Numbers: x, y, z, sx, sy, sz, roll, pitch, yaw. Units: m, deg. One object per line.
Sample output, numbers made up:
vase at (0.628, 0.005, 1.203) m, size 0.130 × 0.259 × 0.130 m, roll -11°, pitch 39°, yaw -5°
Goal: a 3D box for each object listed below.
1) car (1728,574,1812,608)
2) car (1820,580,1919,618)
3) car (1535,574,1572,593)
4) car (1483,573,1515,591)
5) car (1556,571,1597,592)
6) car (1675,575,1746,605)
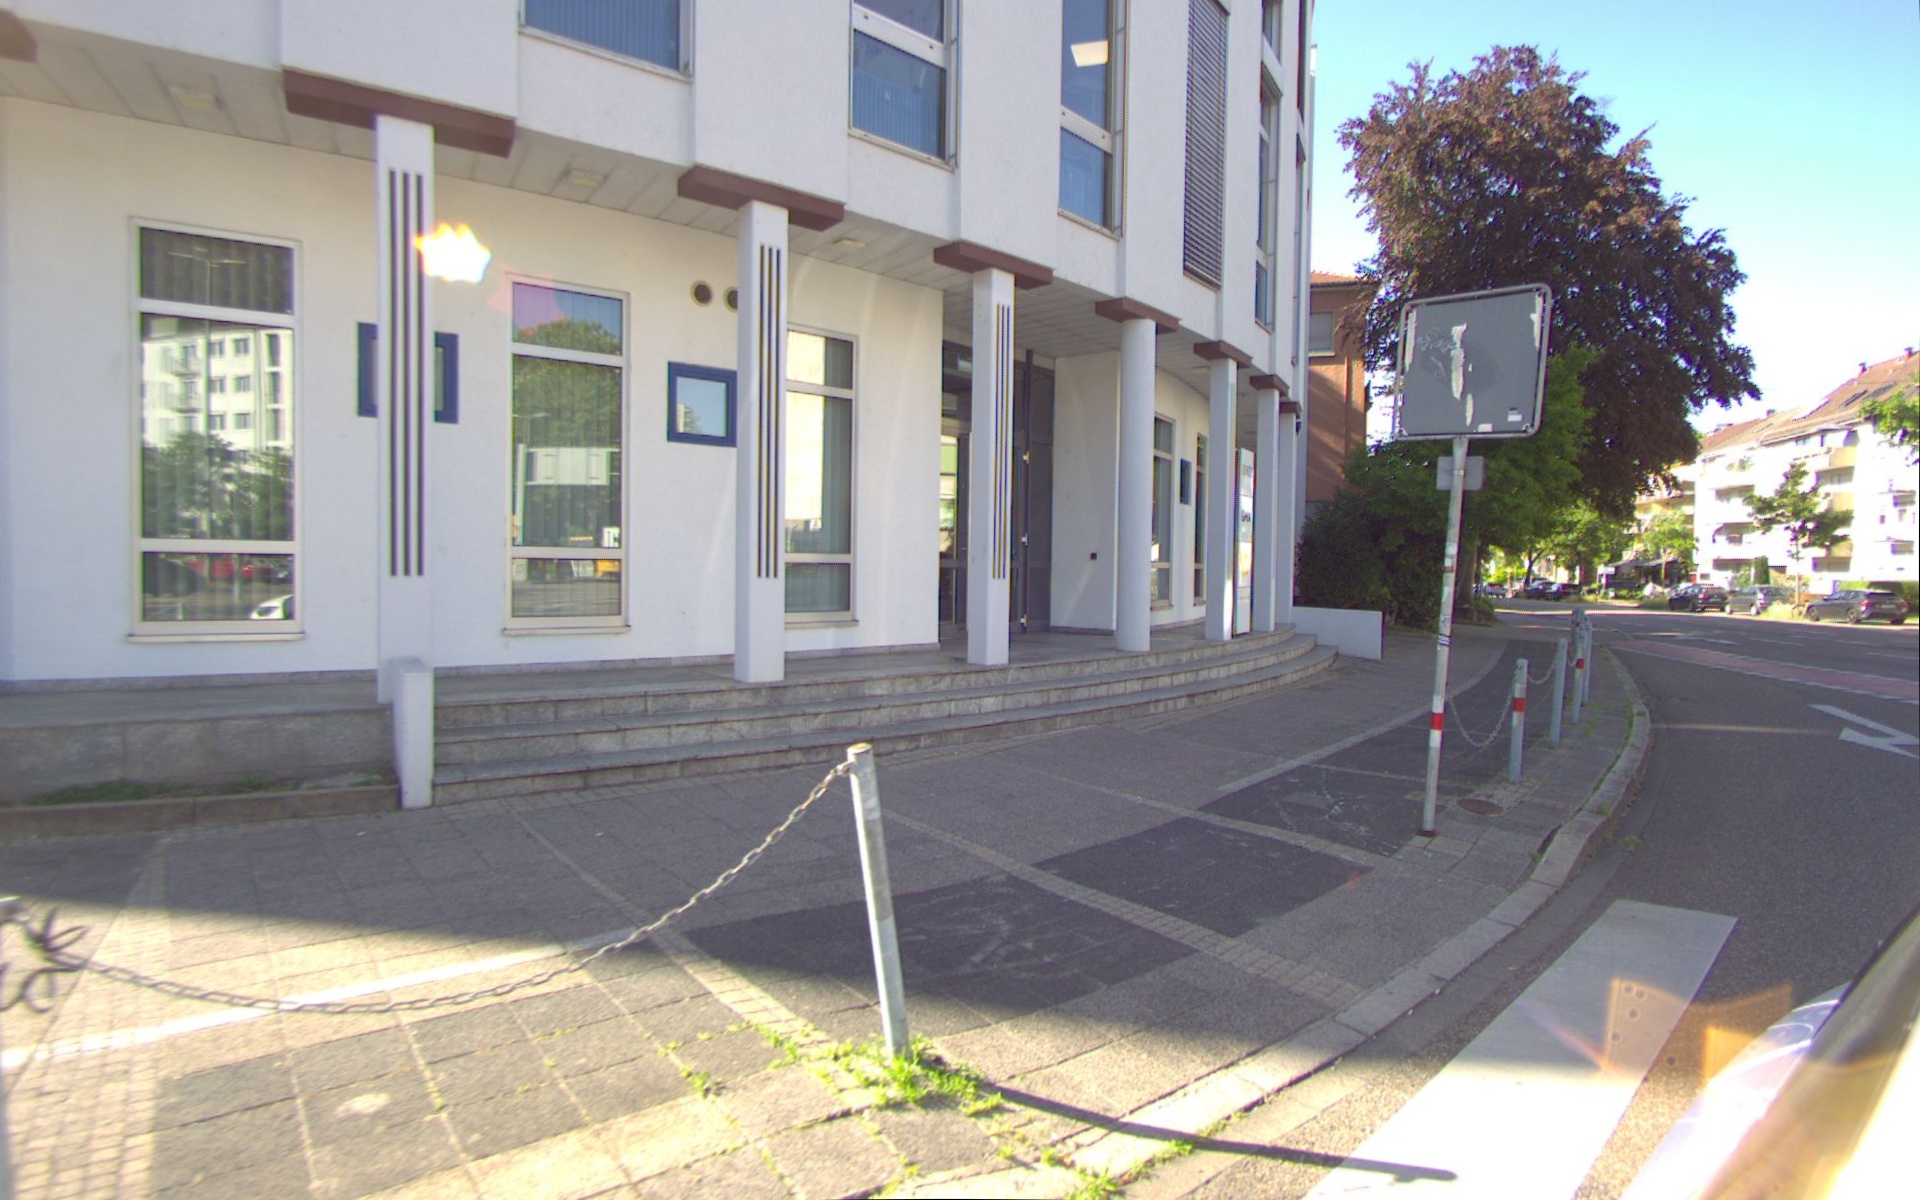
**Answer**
car at (40.760, -0.467, 51.042) m, size 1.780 × 1.581 × 4.146 m, roll -2°, pitch 0°, yaw 16°
car at (38.009, -0.066, 42.151) m, size 1.780 × 1.476 × 3.985 m, roll -2°, pitch 0°, yaw 16°
car at (50.731, -1.409, 86.562) m, size 1.780 × 1.581 × 3.904 m, roll -2°, pitch 0°, yaw 16°
car at (49.570, -1.661, 93.146) m, size 1.780 × 1.581 × 4.147 m, roll 1°, pitch 2°, yaw 16°
car at (49.220, -1.447, 80.871) m, size 1.780 × 1.581 × 3.904 m, roll -2°, pitch 0°, yaw 16°
car at (42.183, -0.589, 56.987) m, size 1.780 × 1.581 × 4.146 m, roll -2°, pitch 0°, yaw 16°
